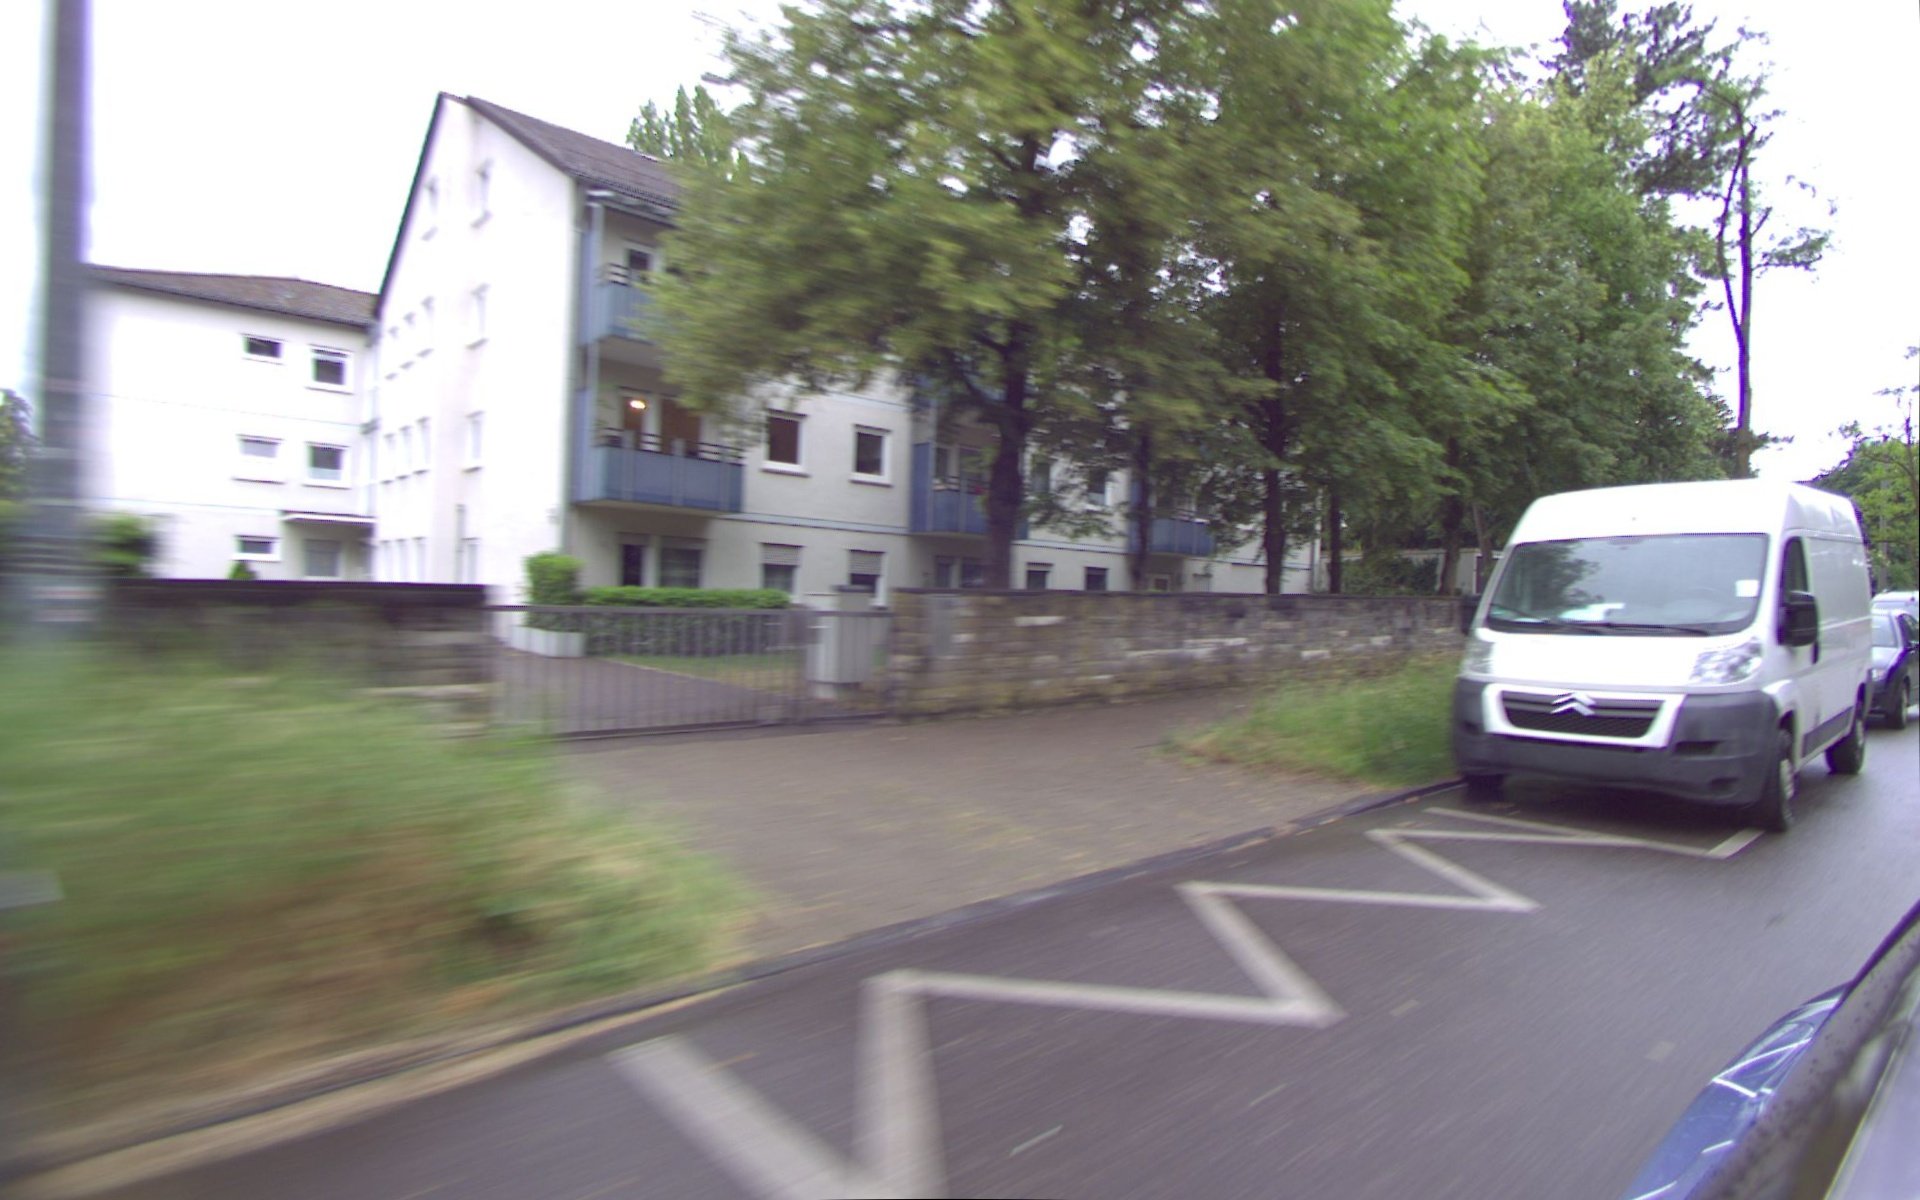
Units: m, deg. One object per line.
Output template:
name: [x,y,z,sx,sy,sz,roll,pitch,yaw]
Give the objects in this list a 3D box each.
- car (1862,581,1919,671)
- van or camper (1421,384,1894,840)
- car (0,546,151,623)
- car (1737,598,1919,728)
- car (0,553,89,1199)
car: [20.980,0.556,21.894,4.210,1.836,1.816,1,-1,-43]
van or camper: [6.072,0.103,8.491,5.252,2.684,2.081,1,-1,-42]
car: [-20.565,-0.355,22.517,3.926,1.602,1.763,1,3,-38]
car: [11.843,0.747,13.383,3.738,1.483,1.630,1,-1,-38]
car: [-3.111,0.664,0.562,3.897,1.498,1.742,1,-1,-44]
